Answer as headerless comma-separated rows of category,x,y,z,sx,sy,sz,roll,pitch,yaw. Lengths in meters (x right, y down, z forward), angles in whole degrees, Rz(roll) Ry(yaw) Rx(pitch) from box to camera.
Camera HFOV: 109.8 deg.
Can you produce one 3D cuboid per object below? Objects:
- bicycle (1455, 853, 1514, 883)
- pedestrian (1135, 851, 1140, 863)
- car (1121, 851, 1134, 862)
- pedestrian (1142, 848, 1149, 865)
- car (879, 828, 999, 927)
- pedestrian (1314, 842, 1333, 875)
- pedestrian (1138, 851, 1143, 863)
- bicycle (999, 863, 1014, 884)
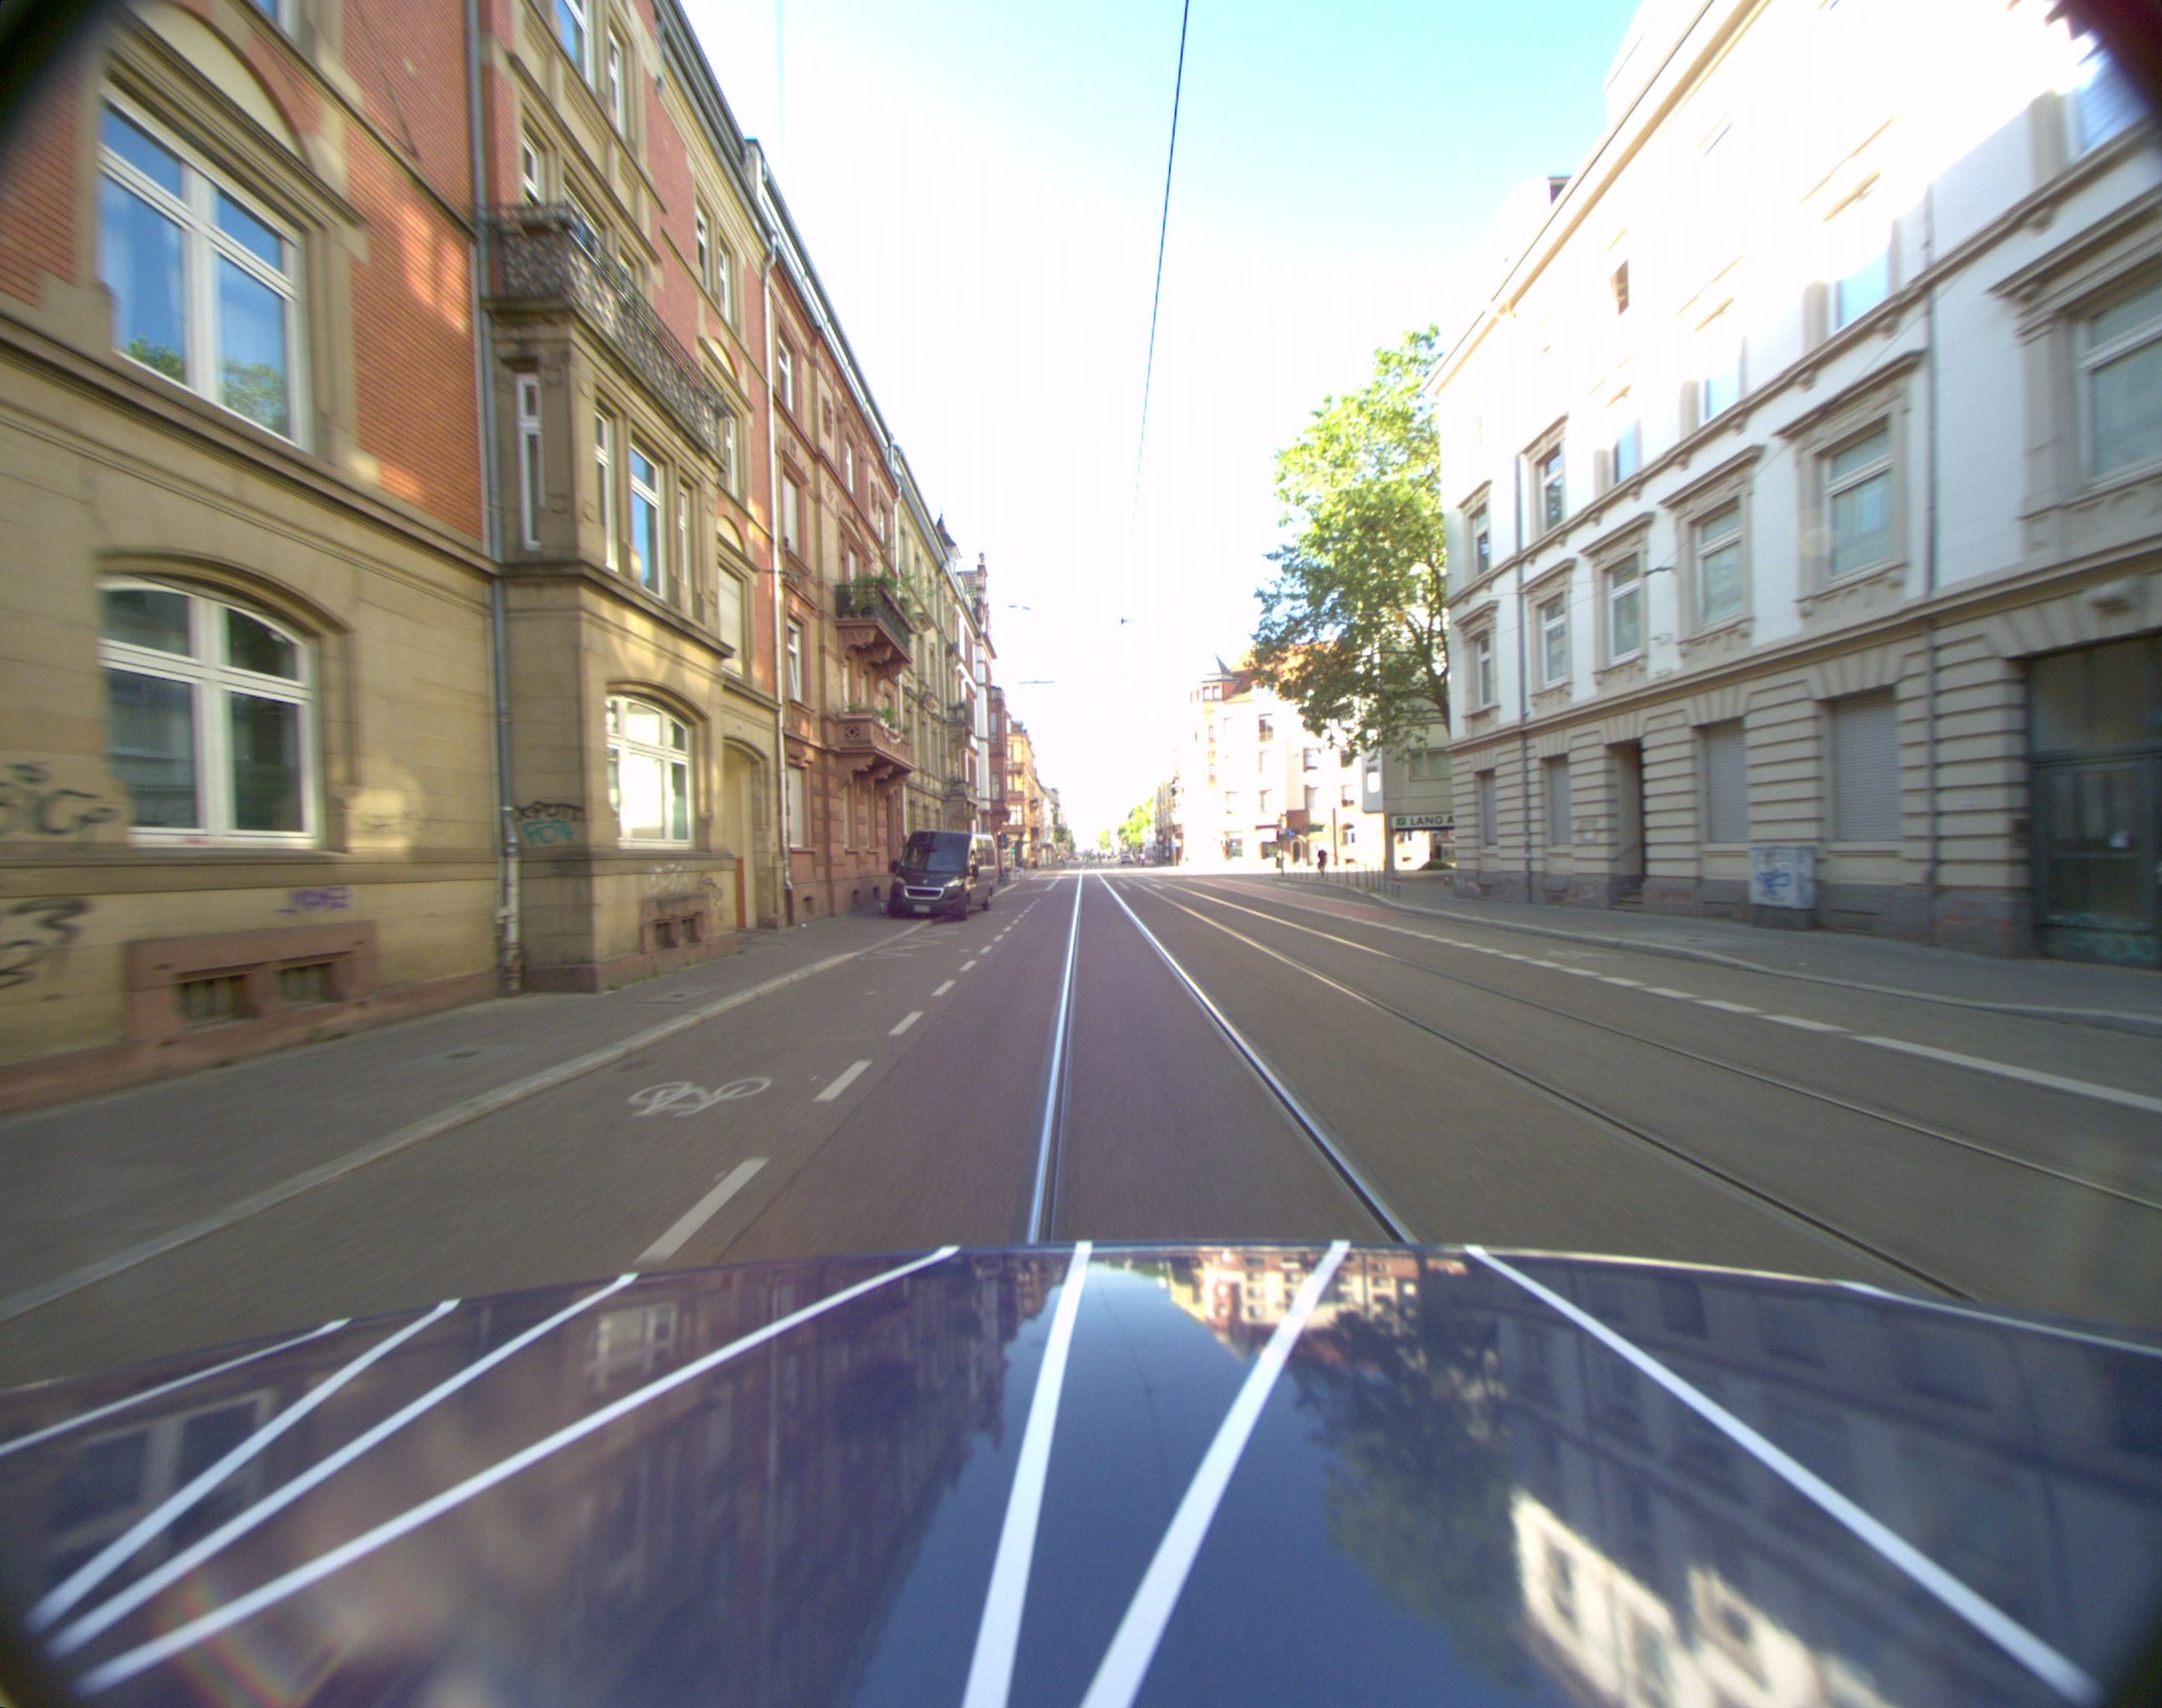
bicycle,16.137,0.565,30.436,2.042,1.119,0.707,-2,1,28
pedestrian,9.105,0.474,122.253,0.756,2.002,0.718,-2,1,0
car,8.349,0.415,135.871,1.998,2.002,4.000,-1,0,0
pedestrian,7.994,0.311,94.638,0.756,2.002,0.718,-2,1,0
car,-3.969,0.580,22.515,2.128,2.478,5.856,-2,1,2
pedestrian,13.848,0.277,43.330,0.795,1.837,0.809,-2,1,3
pedestrian,9.968,0.502,126.737,0.756,2.002,0.718,-2,1,0
bicycle,-4.242,1.116,43.366,0.647,1.142,1.688,-1,0,0
